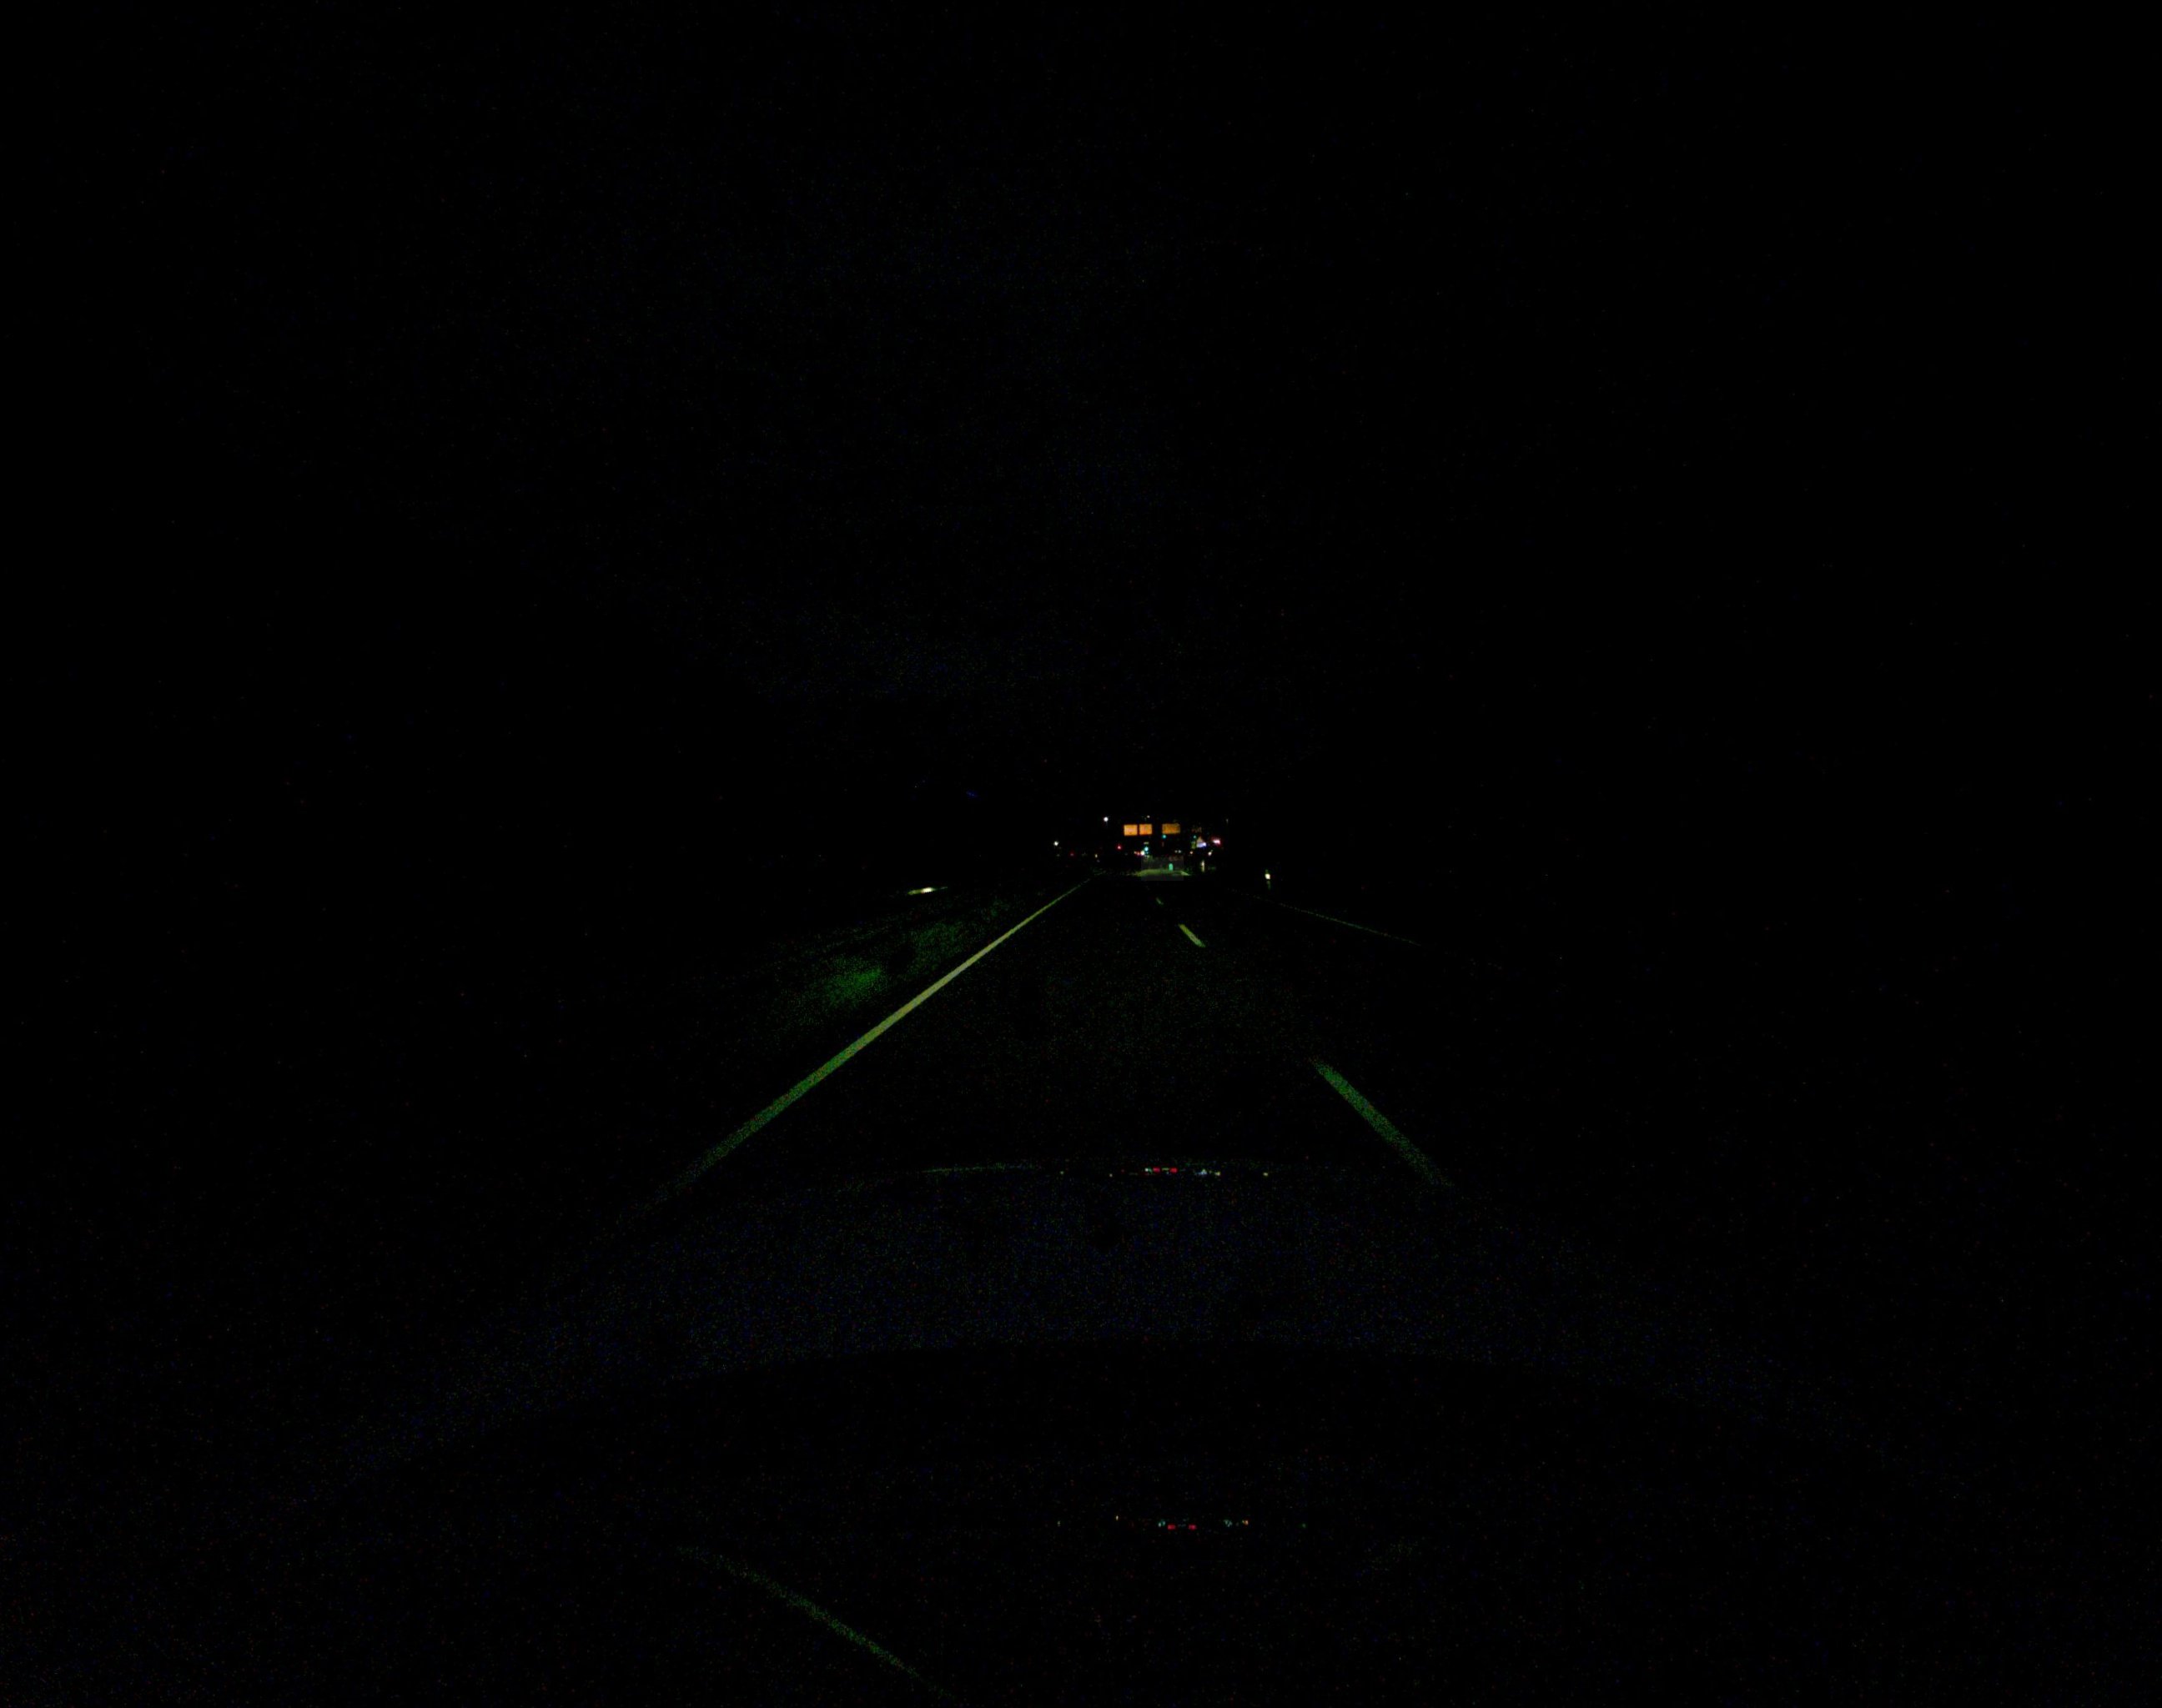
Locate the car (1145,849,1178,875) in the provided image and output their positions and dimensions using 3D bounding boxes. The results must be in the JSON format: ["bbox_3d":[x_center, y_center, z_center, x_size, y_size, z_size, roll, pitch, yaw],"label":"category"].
[{"bbox_3d":[5.333,0.487,54.372,1.999,1.611,3.848,-2,0,3],"label":"car"}]

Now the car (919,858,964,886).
[{"bbox_3d":[-8.366,1.043,49.049,1.828,1.469,3.847,-4,0,2],"label":"car"}]
